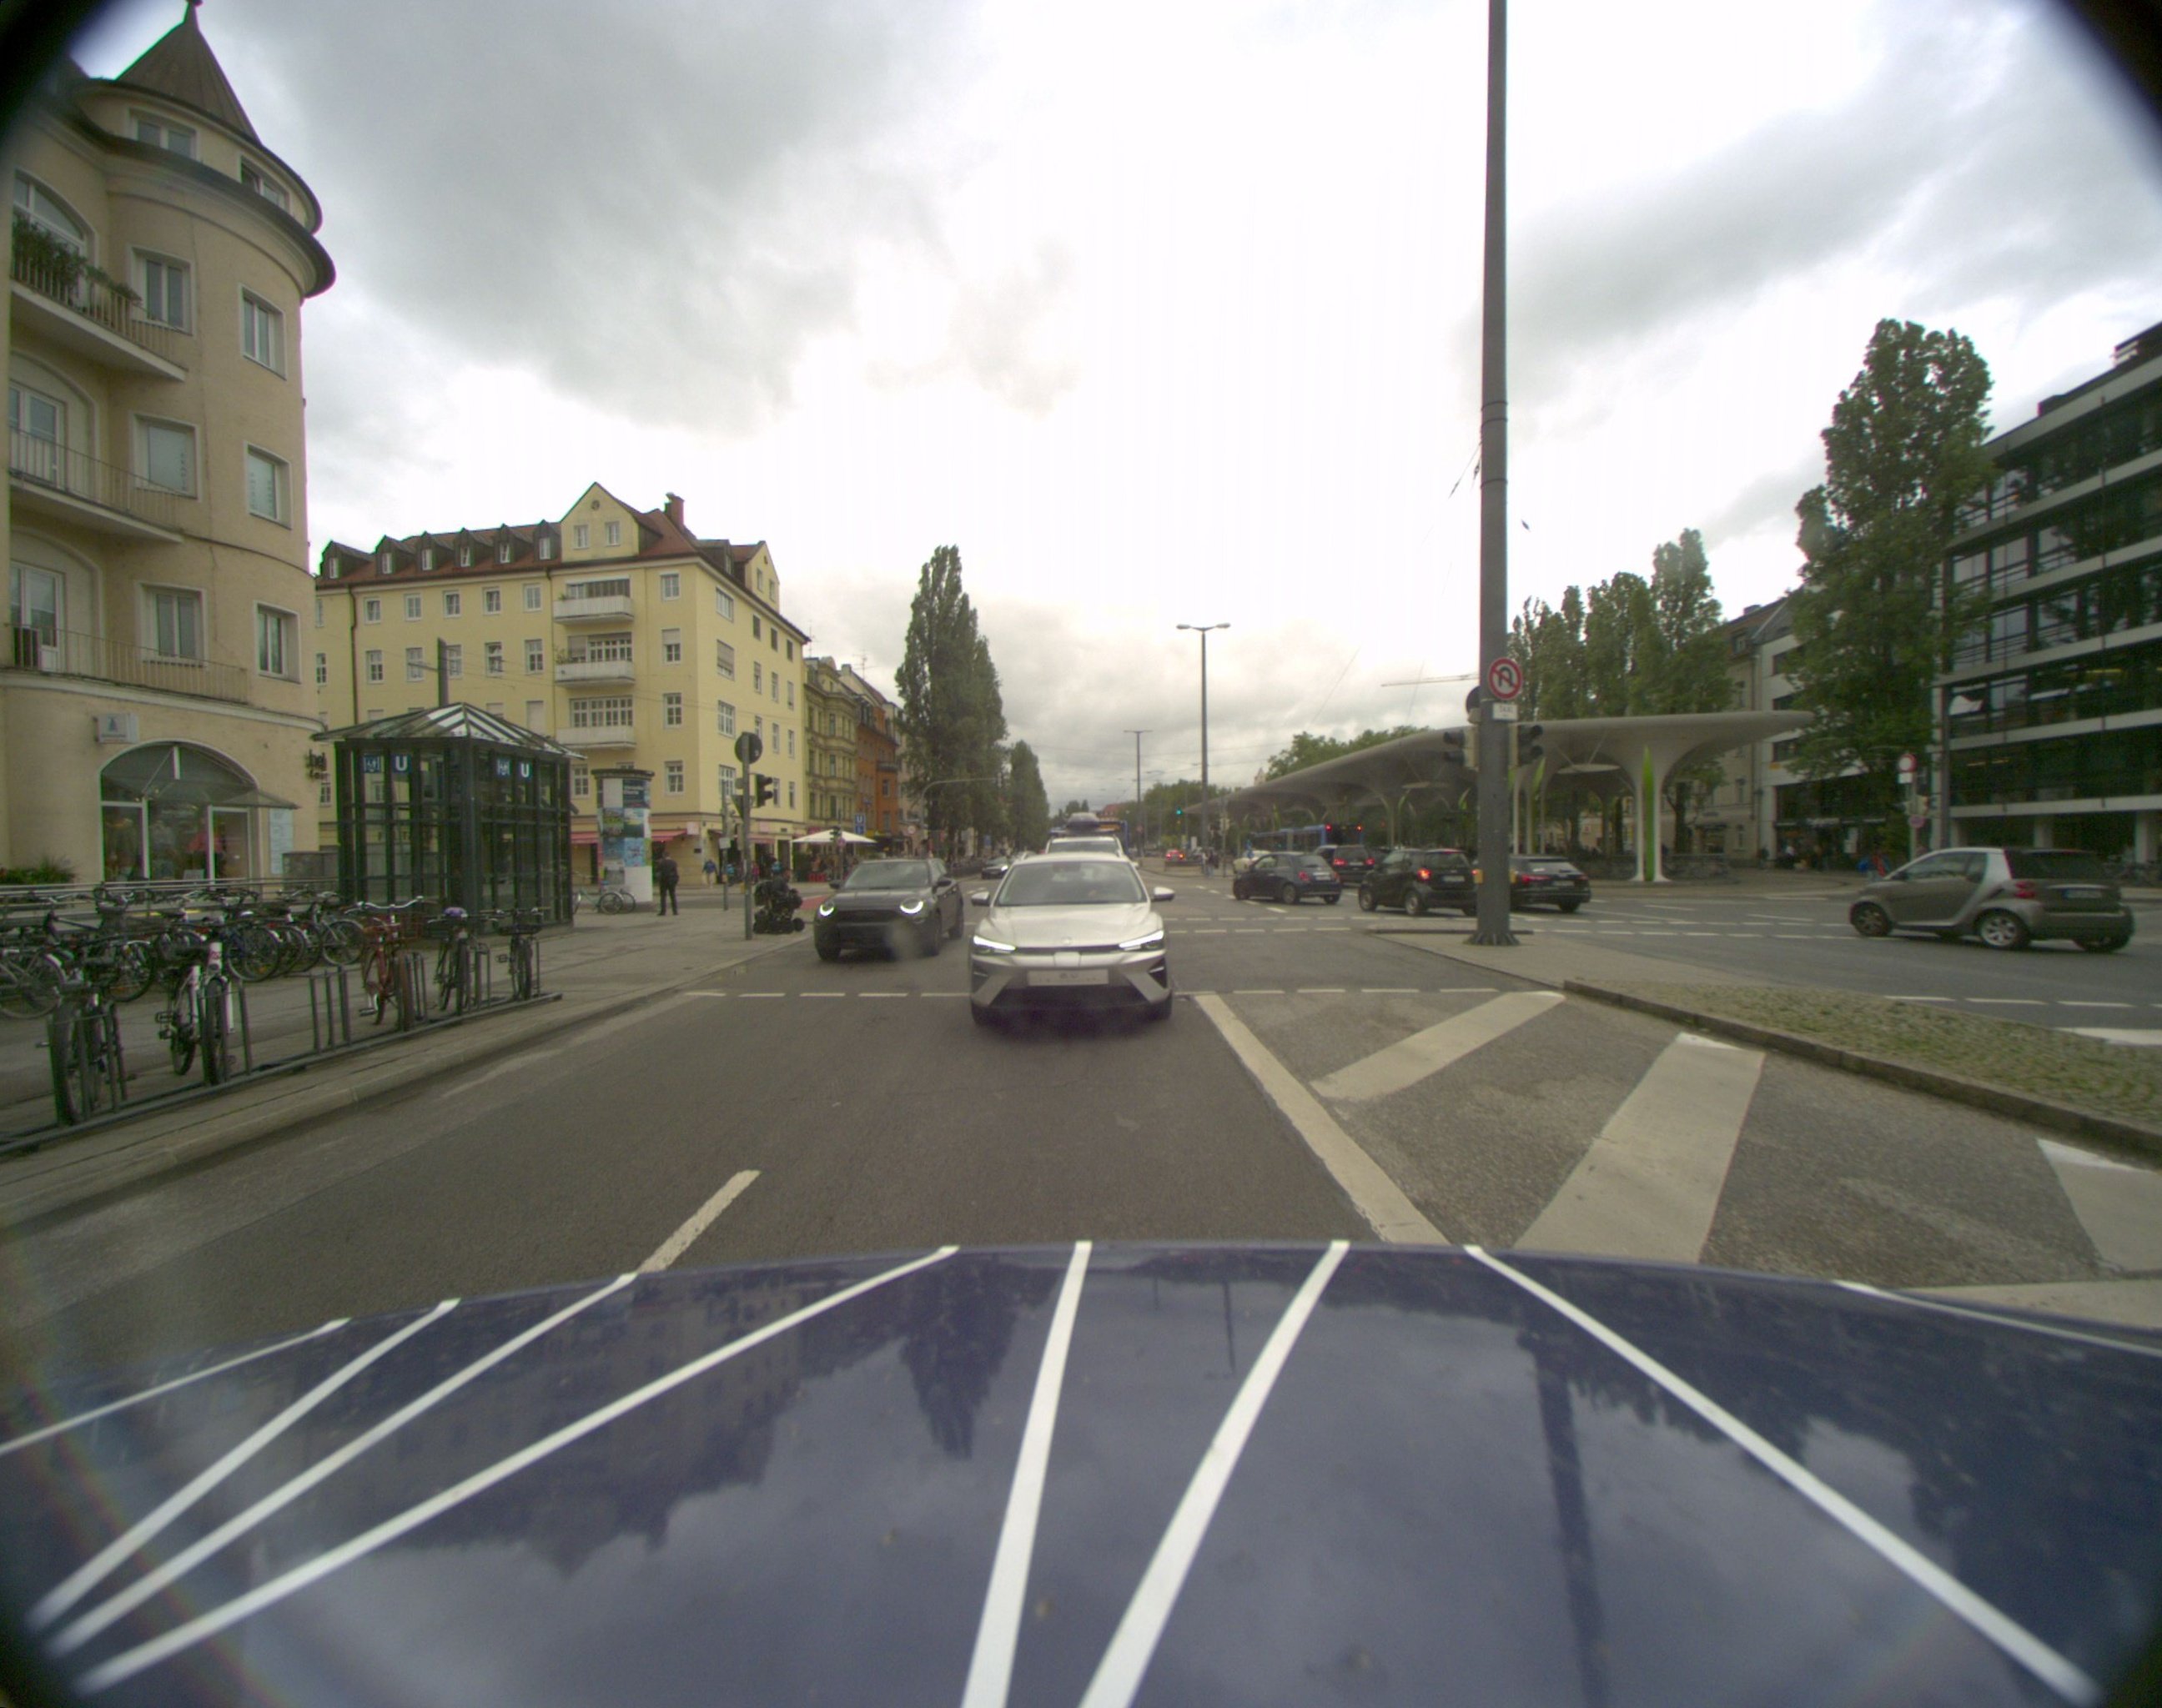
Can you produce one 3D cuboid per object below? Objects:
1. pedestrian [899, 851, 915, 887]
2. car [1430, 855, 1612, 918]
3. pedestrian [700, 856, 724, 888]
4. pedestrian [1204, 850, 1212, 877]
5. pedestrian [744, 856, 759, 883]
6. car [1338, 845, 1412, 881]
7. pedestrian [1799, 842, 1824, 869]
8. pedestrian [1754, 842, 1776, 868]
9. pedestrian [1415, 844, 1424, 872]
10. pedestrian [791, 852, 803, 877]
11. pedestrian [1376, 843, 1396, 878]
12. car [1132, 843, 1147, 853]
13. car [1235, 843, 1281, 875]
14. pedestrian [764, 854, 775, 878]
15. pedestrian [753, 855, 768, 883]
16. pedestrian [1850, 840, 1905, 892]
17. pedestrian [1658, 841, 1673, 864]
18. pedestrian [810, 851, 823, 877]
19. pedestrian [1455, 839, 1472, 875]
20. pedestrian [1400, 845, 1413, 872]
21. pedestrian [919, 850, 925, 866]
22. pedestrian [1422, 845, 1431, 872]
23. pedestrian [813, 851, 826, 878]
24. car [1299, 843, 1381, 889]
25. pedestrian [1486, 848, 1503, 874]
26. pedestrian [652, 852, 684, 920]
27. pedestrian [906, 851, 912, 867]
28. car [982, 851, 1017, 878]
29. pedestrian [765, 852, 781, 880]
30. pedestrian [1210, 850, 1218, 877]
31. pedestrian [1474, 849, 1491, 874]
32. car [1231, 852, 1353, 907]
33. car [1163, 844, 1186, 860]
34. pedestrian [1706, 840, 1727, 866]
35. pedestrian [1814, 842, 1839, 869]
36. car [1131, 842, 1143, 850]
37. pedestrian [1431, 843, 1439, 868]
[{"bbox_3d":[-8.959,0.774,39.050,0.732,1.792,0.710,-1,3,-9],"label":"pedestrian"},{"bbox_3d":[11.268,0.755,19.927,1.999,1.408,4.614,-1,0,-2],"label":"car"},{"bbox_3d":[-18.413,0.887,37.972,0.714,1.558,0.832,-2,2,0],"label":"pedestrian"},{"bbox_3d":[6.818,0.501,40.861,0.357,1.411,0.380,0,1,0],"label":"pedestrian"},{"bbox_3d":[-18.485,0.848,42.634,0.528,1.517,0.585,-1,1,1],"label":"pedestrian"},{"bbox_3d":[13.535,0.374,35.233,1.932,1.576,3.999,-1,1,0],"label":"car"},{"bbox_3d":[46.471,0.113,48.335,0.800,1.714,0.827,0,1,11],"label":"pedestrian"},{"bbox_3d":[44.881,0.069,49.872,0.834,1.689,0.906,0,1,22],"label":"pedestrian"},{"bbox_3d":[18.769,0.221,42.132,0.320,1.493,0.317,-1,1,-9],"label":"pedestrian"},{"bbox_3d":[-18.728,0.688,50.156,0.552,1.675,0.585,-1,1,1],"label":"pedestrian"},{"bbox_3d":[15.595,0.330,38.848,0.711,1.738,0.788,0,1,-1],"label":"pedestrian"},{"bbox_3d":[9.018,-0.934,117.433,1.848,1.529,3.999,-2,1,0],"label":"car"},{"bbox_3d":[10.283,0.259,44.459,1.760,1.674,3.999,-2,1,1],"label":"car"},{"bbox_3d":[-19.474,0.758,47.483,0.529,1.517,0.585,-1,1,-12],"label":"pedestrian"},{"bbox_3d":[-17.978,0.829,42.647,0.528,1.517,0.585,-1,1,1],"label":"pedestrian"},{"bbox_3d":[27.833,0.420,26.571,0.861,1.767,0.980,-1,1,1],"label":"pedestrian"},{"bbox_3d":[43.770,-0.120,56.898,0.833,1.689,0.906,0,1,45],"label":"pedestrian"},{"bbox_3d":[-16.842,0.637,48.351,0.552,1.675,0.585,-1,1,1],"label":"pedestrian"},{"bbox_3d":[19.452,0.155,38.630,0.666,1.840,0.789,0,1,20],"label":"pedestrian"},{"bbox_3d":[18.168,0.261,42.404,0.490,1.493,0.426,-1,1,-34],"label":"pedestrian"},{"bbox_3d":[-17.049,0.453,81.495,0.552,1.675,0.585,-1,1,1],"label":"pedestrian"},{"bbox_3d":[19.118,0.247,42.086,0.335,1.493,0.317,-1,1,-9],"label":"pedestrian"},{"bbox_3d":[-16.382,0.637,47.565,0.552,1.675,0.585,-1,1,1],"label":"pedestrian"},{"bbox_3d":[10.650,0.433,31.613,1.998,1.762,4.306,1,1,1],"label":"car"},{"bbox_3d":[22.170,0.371,40.749,0.549,1.330,0.592,-1,1,-1],"label":"pedestrian"},{"bbox_3d":[-11.012,0.833,20.278,0.641,1.767,0.609,-2,1,-23],"label":"pedestrian"},{"bbox_3d":[-18.256,0.513,80.684,0.552,1.675,0.585,-1,1,1],"label":"pedestrian"},{"bbox_3d":[-5.457,0.647,51.206,1.854,1.615,3.999,-2,1,0],"label":"car"},{"bbox_3d":[-18.622,0.713,45.917,0.686,1.657,0.621,-1,1,-44],"label":"pedestrian"},{"bbox_3d":[7.077,0.500,40.496,0.357,1.411,0.380,0,1,0],"label":"pedestrian"},{"bbox_3d":[21.446,0.402,40.593,0.549,1.330,0.592,-1,1,-1],"label":"pedestrian"},{"bbox_3d":[6.065,0.683,22.207,1.630,1.471,3.381,0,0,-25],"label":"car"},{"bbox_3d":[9.815,-0.255,79.922,1.848,1.529,3.999,-2,1,0],"label":"car"},{"bbox_3d":[43.608,-0.055,52.112,0.985,1.762,0.951,-1,1,-40],"label":"pedestrian"},{"bbox_3d":[47.408,0.074,48.313,0.800,1.714,0.827,0,1,11],"label":"pedestrian"},{"bbox_3d":[10.629,-1.491,143.718,1.848,1.529,3.999,-2,1,0],"label":"car"},{"bbox_3d":[19.509,0.092,41.893,0.303,1.369,0.257,0,1,-2],"label":"pedestrian"}]
